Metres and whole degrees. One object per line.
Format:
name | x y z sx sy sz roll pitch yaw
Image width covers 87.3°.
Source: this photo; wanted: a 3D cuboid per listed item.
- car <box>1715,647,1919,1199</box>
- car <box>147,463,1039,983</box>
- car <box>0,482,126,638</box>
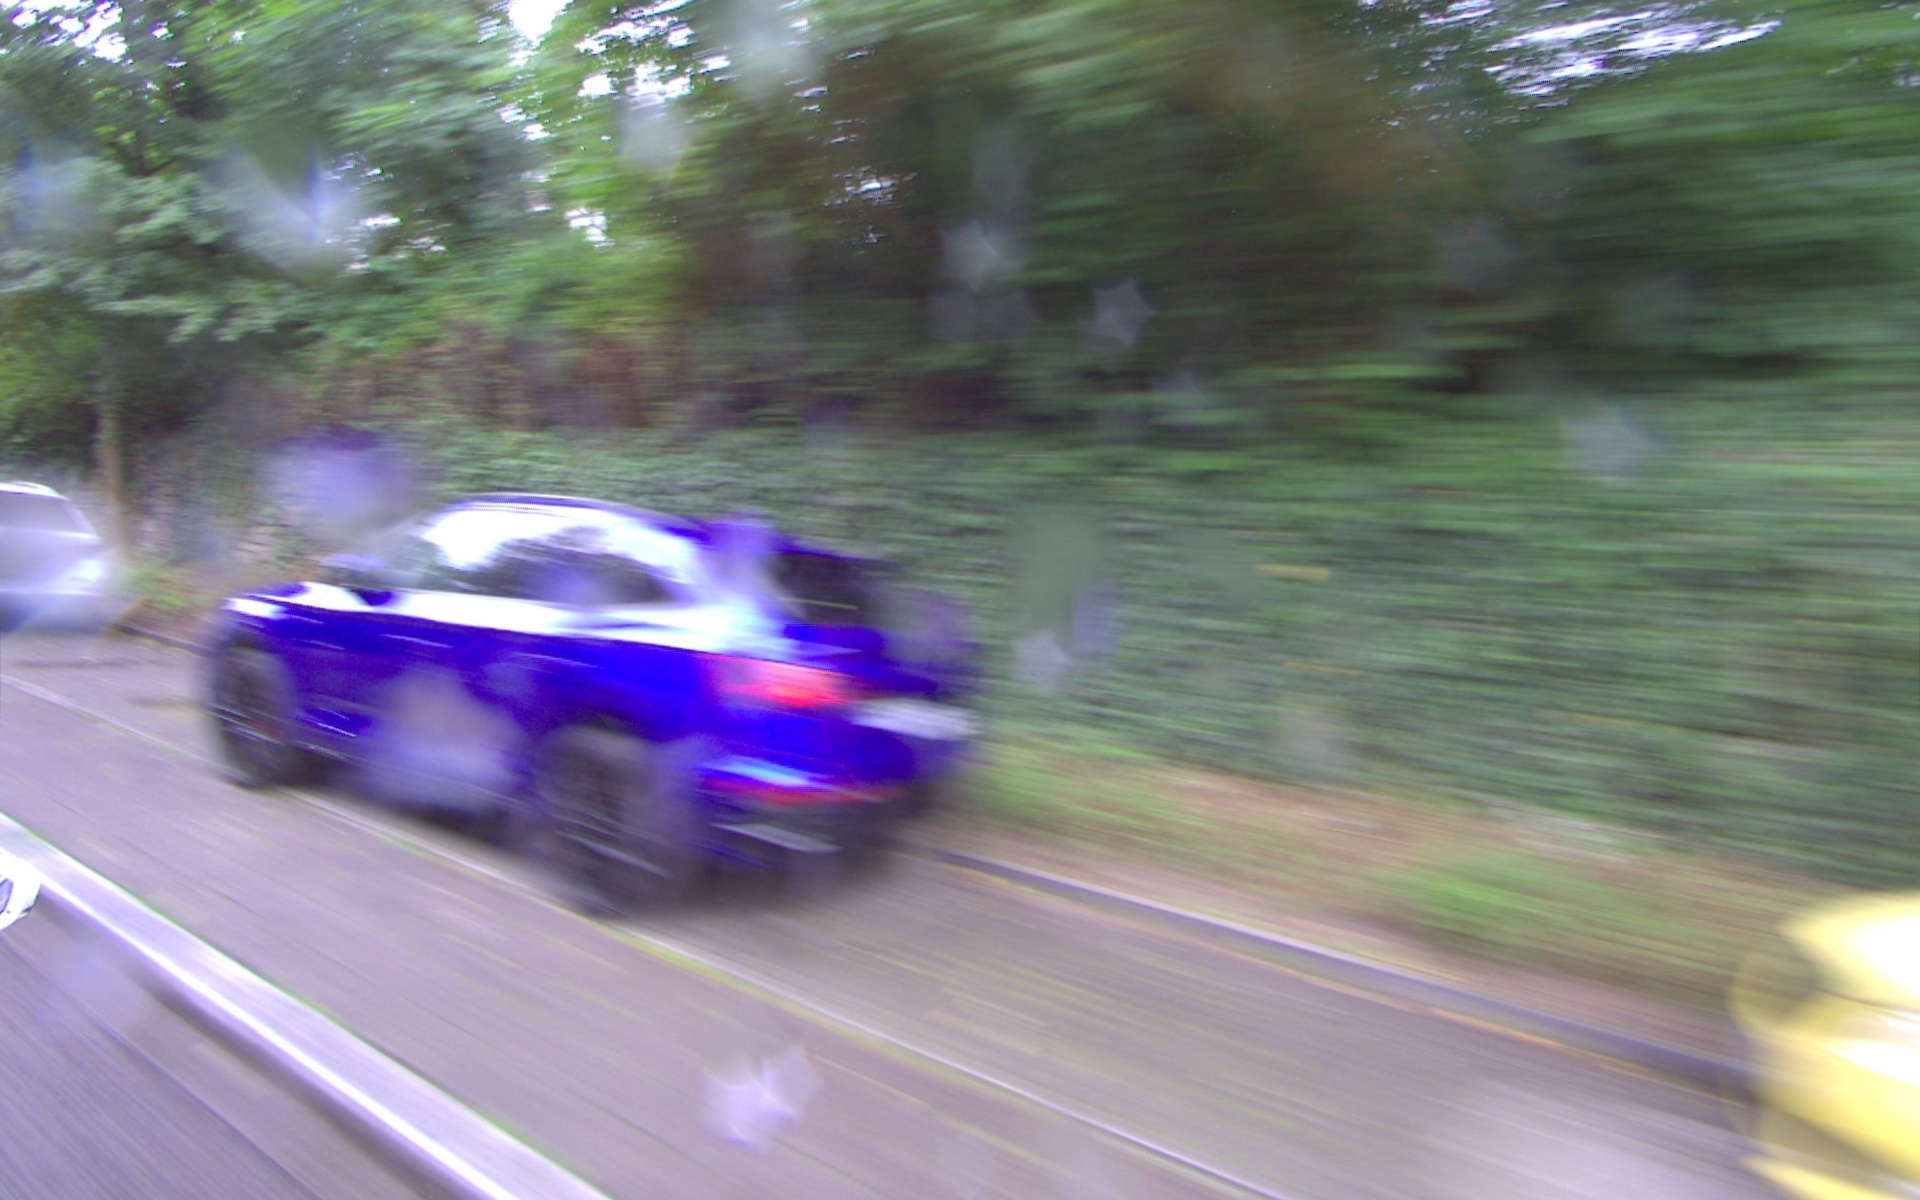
car | 3.812 1.054 1.666 3.834 1.487 1.564 6 2 32
car | -2.106 0.302 5.256 4.601 1.644 1.767 6 0 31
car | -11.134 -0.604 10.992 4.662 1.497 1.738 7 2 33
